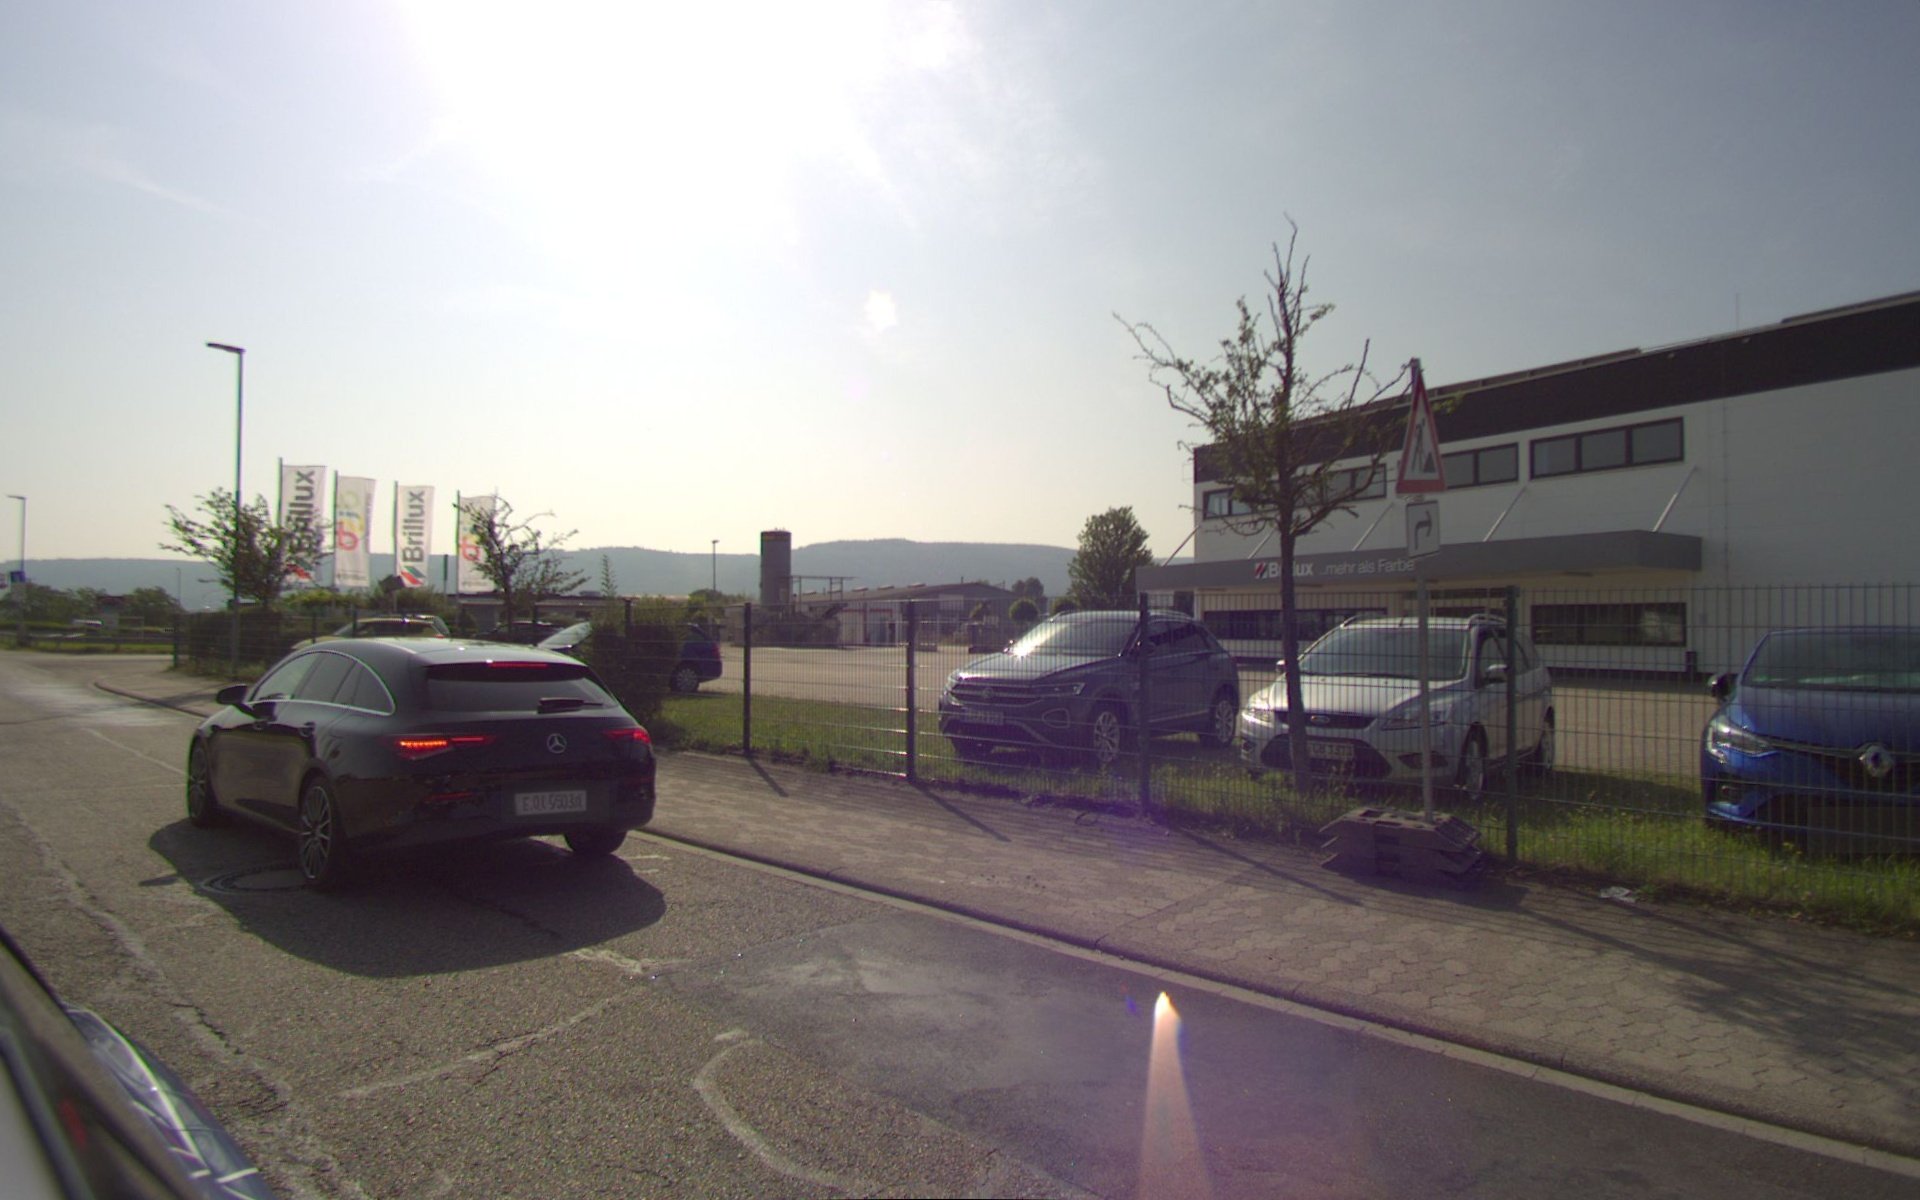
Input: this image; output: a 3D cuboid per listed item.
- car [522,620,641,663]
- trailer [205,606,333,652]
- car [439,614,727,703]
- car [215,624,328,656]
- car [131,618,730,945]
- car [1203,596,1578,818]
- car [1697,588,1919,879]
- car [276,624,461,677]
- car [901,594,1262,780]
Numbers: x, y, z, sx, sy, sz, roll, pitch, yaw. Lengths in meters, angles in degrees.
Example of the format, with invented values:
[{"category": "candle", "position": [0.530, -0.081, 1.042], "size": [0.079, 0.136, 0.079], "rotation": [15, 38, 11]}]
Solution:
[{"category": "car", "position": [-16.353, 1.804, 43.733], "size": [4.584, 1.765, 2.158], "rotation": [2, -3, -27]}, {"category": "trailer", "position": [-42.396, 1.829, 62.264], "size": [6.222, 2.625, 2.861], "rotation": [3, -4, -34]}, {"category": "car", "position": [-6.967, 1.122, 19.131], "size": [2.077, 1.455, 4.637], "rotation": [-1, -4, 41]}, {"category": "car", "position": [-40.344, 2.390, 59.365], "size": [5.198, 1.719, 2.003], "rotation": [4, -4, -42]}, {"category": "car", "position": [-3.720, 0.924, 6.756], "size": [4.416, 1.460, 1.973], "rotation": [-1, -5, 40]}, {"category": "car", "position": [3.900, 0.838, 8.787], "size": [1.873, 1.455, 3.998], "rotation": [-1, -4, 41]}, {"category": "car", "position": [6.153, 0.784, 6.574], "size": [1.873, 1.455, 3.998], "rotation": [-1, -4, 41]}, {"category": "car", "position": [-16.565, 1.412, 28.495], "size": [1.868, 1.379, 4.119], "rotation": [-1, -3, 42]}, {"category": "car", "position": [1.473, 0.877, 10.796], "size": [1.864, 1.579, 4.084], "rotation": [-1, -4, 41]}]
